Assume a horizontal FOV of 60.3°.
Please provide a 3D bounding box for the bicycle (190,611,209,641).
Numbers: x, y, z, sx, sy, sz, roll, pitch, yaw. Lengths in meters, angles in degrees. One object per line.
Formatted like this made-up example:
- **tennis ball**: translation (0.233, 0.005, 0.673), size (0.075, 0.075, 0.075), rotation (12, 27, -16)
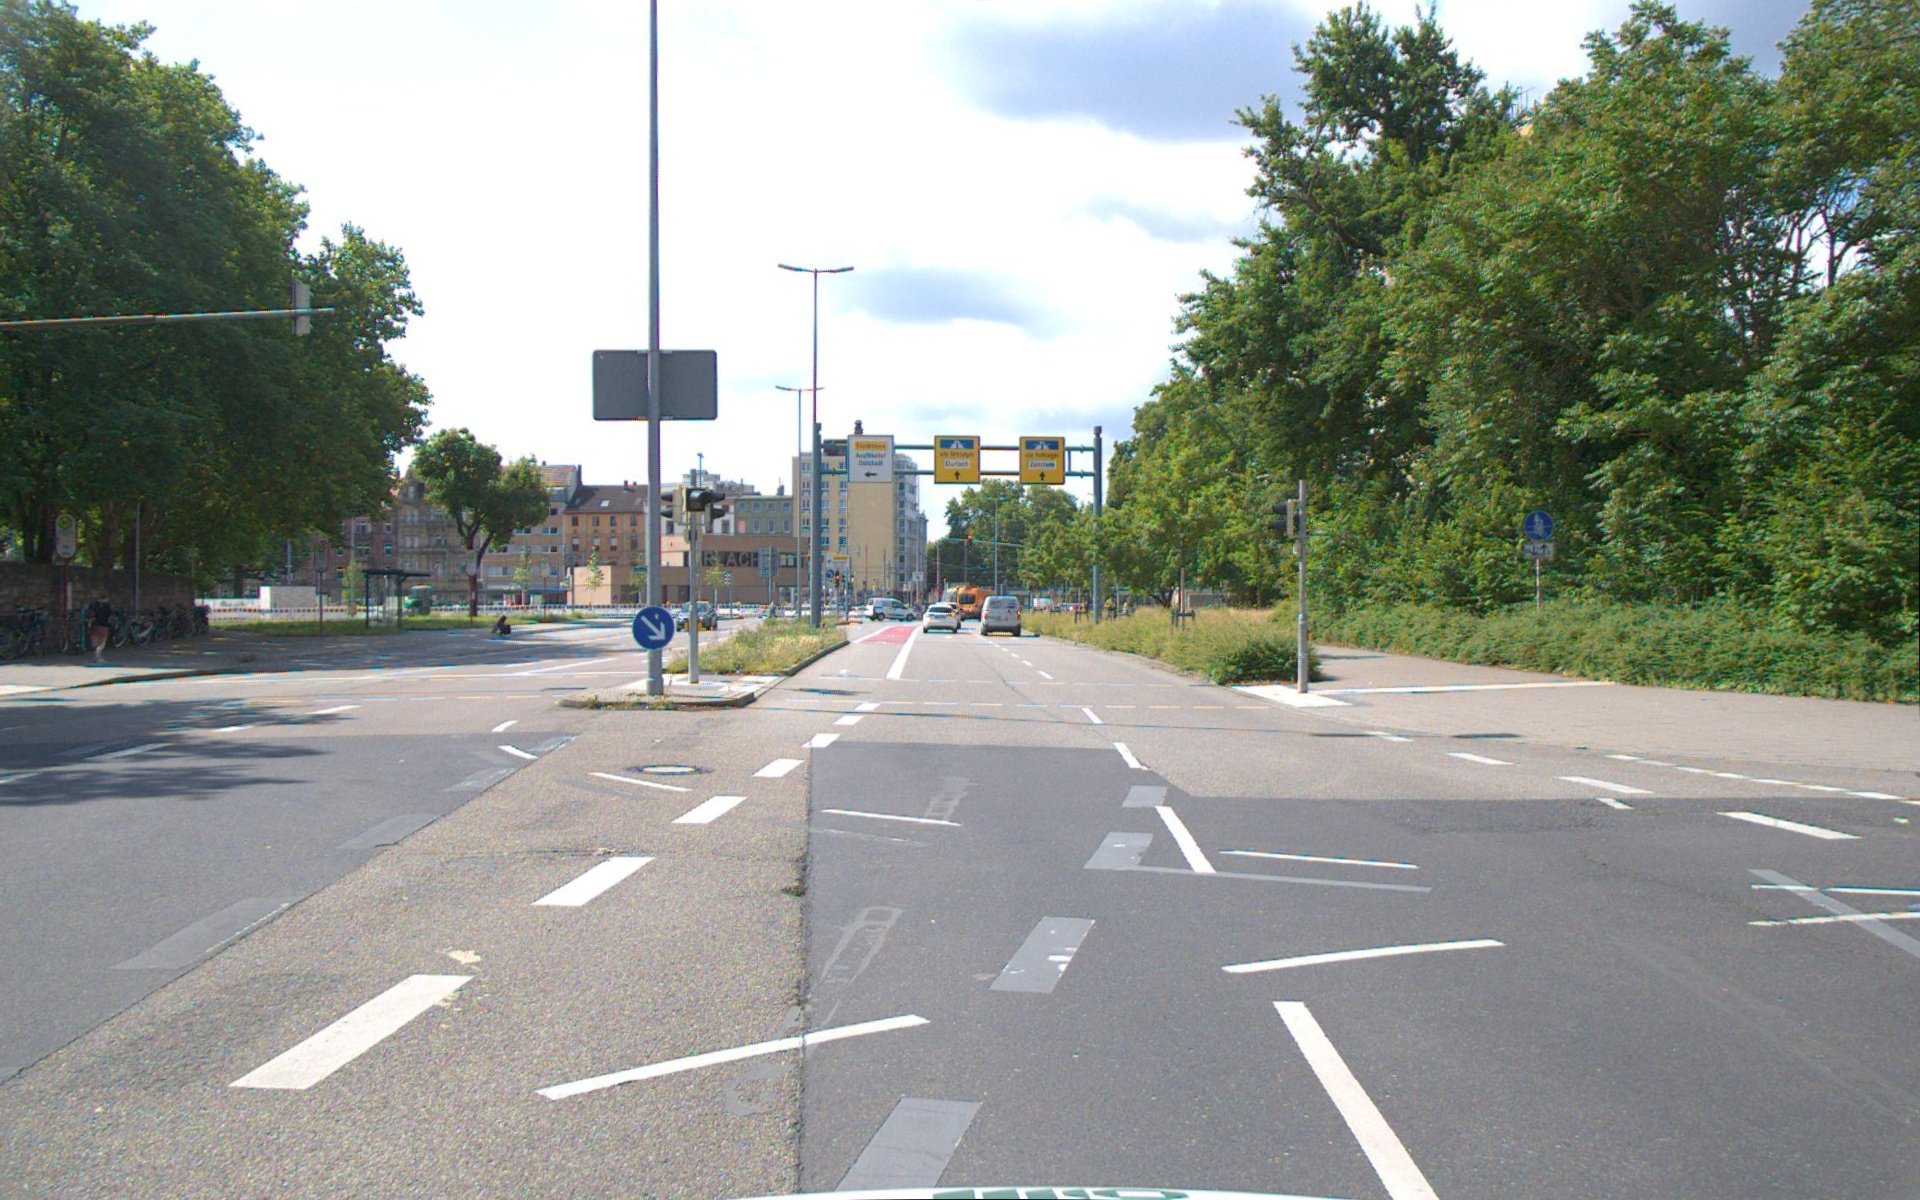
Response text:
- **bicycle**: translation (-28.320, 0.948, 61.600), size (0.574, 1.092, 1.743), rotation (0, 0, -23)

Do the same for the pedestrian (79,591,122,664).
- **pedestrian**: translation (-19.599, 0.621, 37.717), size (0.644, 1.638, 0.743), rotation (1, 0, -10)

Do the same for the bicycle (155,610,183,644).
- **bicycle**: translation (-26.018, 0.870, 54.425), size (0.573, 1.092, 1.747), rotation (0, 0, -17)

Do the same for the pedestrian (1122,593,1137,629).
- **pedestrian**: translation (7.617, 0.493, 74.362), size (0.610, 1.608, 0.708), rotation (0, 0, -1)

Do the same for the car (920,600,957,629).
- **car**: translation (-1.099, 0.737, 85.934), size (1.865, 1.449, 4.384), rotation (0, 0, 0)

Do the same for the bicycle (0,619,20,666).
- **bicycle**: translation (-21.857, 0.964, 37.505), size (0.366, 1.066, 1.876), rotation (0, 0, -11)

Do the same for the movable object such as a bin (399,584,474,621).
- **movable object such as a bin**: translation (-42.776, 0.183, 135.219), size (2.247, 2.935, 5.508), rotation (-1, -1, 42)

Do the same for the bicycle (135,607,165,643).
- **bicycle**: translation (-25.456, 0.776, 51.982), size (0.573, 1.092, 1.747), rotation (0, 0, -17)

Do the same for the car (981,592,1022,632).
- **car**: translation (2.014, 0.592, 81.587), size (1.902, 1.903, 4.825), rotation (0, 0, 0)

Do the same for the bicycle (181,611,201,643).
- **bicycle**: translation (-27.021, 0.936, 58.104), size (0.574, 1.092, 1.743), rotation (0, 0, -23)

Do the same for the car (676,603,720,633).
- **car**: translation (-13.476, 0.890, 85.226), size (1.666, 1.470, 4.144), rotation (-1, 0, -2)

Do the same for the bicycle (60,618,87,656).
- **bicycle**: translation (-23.229, 0.963, 43.356), size (0.360, 0.972, 1.395), rotation (0, 0, -17)

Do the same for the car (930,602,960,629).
- **car**: translation (-0.879, 0.943, 100.153), size (1.754, 1.566, 4.010), rotation (1, 0, 0)

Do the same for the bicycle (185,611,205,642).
- **bicycle**: translation (-27.644, 0.948, 59.787), size (0.574, 1.092, 1.743), rotation (0, 0, -23)

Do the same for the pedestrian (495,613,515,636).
- **pedestrian**: translation (-19.828, 1.064, 72.098), size (0.680, 0.980, 0.742), rotation (0, 0, -3)

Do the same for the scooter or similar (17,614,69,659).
- **scooter or similar**: translation (-22.906, 0.895, 41.332), size (0.570, 1.066, 1.876), rotation (0, 0, -11)

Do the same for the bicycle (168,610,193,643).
- **bicycle**: translation (-26.554, 0.891, 56.362), size (0.573, 1.092, 1.747), rotation (0, 0, -18)

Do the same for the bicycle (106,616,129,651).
- **bicycle**: translation (-24.459, 0.969, 48.030), size (0.360, 0.972, 1.395), rotation (0, 0, -17)

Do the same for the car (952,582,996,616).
- **car**: translation (1.239, -0.054, 139.239), size (2.087, 2.829, 4.637), rotation (-1, -1, 23)

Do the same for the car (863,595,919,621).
- **car**: translation (-5.450, 0.648, 129.873), size (3.928, 1.847, 1.988), rotation (3, -1, -20)

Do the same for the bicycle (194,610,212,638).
- **bicycle**: translation (-29.475, 0.929, 64.427), size (0.574, 1.092, 1.620), rotation (0, 0, -23)

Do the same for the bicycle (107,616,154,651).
- **bicycle**: translation (-23.568, 0.935, 46.999), size (0.358, 0.972, 1.626), rotation (0, 0, 7)

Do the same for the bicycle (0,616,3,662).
- **bicycle**: translation (-22.216, 0.902, 37.398), size (0.387, 1.066, 1.876), rotation (0, 0, -11)

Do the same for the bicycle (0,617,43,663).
- **bicycle**: translation (-22.518, 0.939, 39.426), size (0.570, 1.066, 1.876), rotation (0, 0, -11)

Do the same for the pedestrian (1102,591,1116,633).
- **pedestrian**: translation (6.668, 0.535, 74.118), size (0.555, 1.833, 0.638), rotation (0, 0, -1)

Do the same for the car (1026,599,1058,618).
- **car**: translation (8.889, 0.921, 178.814), size (1.965, 2.001, 4.637), rotation (-1, -1, 23)
